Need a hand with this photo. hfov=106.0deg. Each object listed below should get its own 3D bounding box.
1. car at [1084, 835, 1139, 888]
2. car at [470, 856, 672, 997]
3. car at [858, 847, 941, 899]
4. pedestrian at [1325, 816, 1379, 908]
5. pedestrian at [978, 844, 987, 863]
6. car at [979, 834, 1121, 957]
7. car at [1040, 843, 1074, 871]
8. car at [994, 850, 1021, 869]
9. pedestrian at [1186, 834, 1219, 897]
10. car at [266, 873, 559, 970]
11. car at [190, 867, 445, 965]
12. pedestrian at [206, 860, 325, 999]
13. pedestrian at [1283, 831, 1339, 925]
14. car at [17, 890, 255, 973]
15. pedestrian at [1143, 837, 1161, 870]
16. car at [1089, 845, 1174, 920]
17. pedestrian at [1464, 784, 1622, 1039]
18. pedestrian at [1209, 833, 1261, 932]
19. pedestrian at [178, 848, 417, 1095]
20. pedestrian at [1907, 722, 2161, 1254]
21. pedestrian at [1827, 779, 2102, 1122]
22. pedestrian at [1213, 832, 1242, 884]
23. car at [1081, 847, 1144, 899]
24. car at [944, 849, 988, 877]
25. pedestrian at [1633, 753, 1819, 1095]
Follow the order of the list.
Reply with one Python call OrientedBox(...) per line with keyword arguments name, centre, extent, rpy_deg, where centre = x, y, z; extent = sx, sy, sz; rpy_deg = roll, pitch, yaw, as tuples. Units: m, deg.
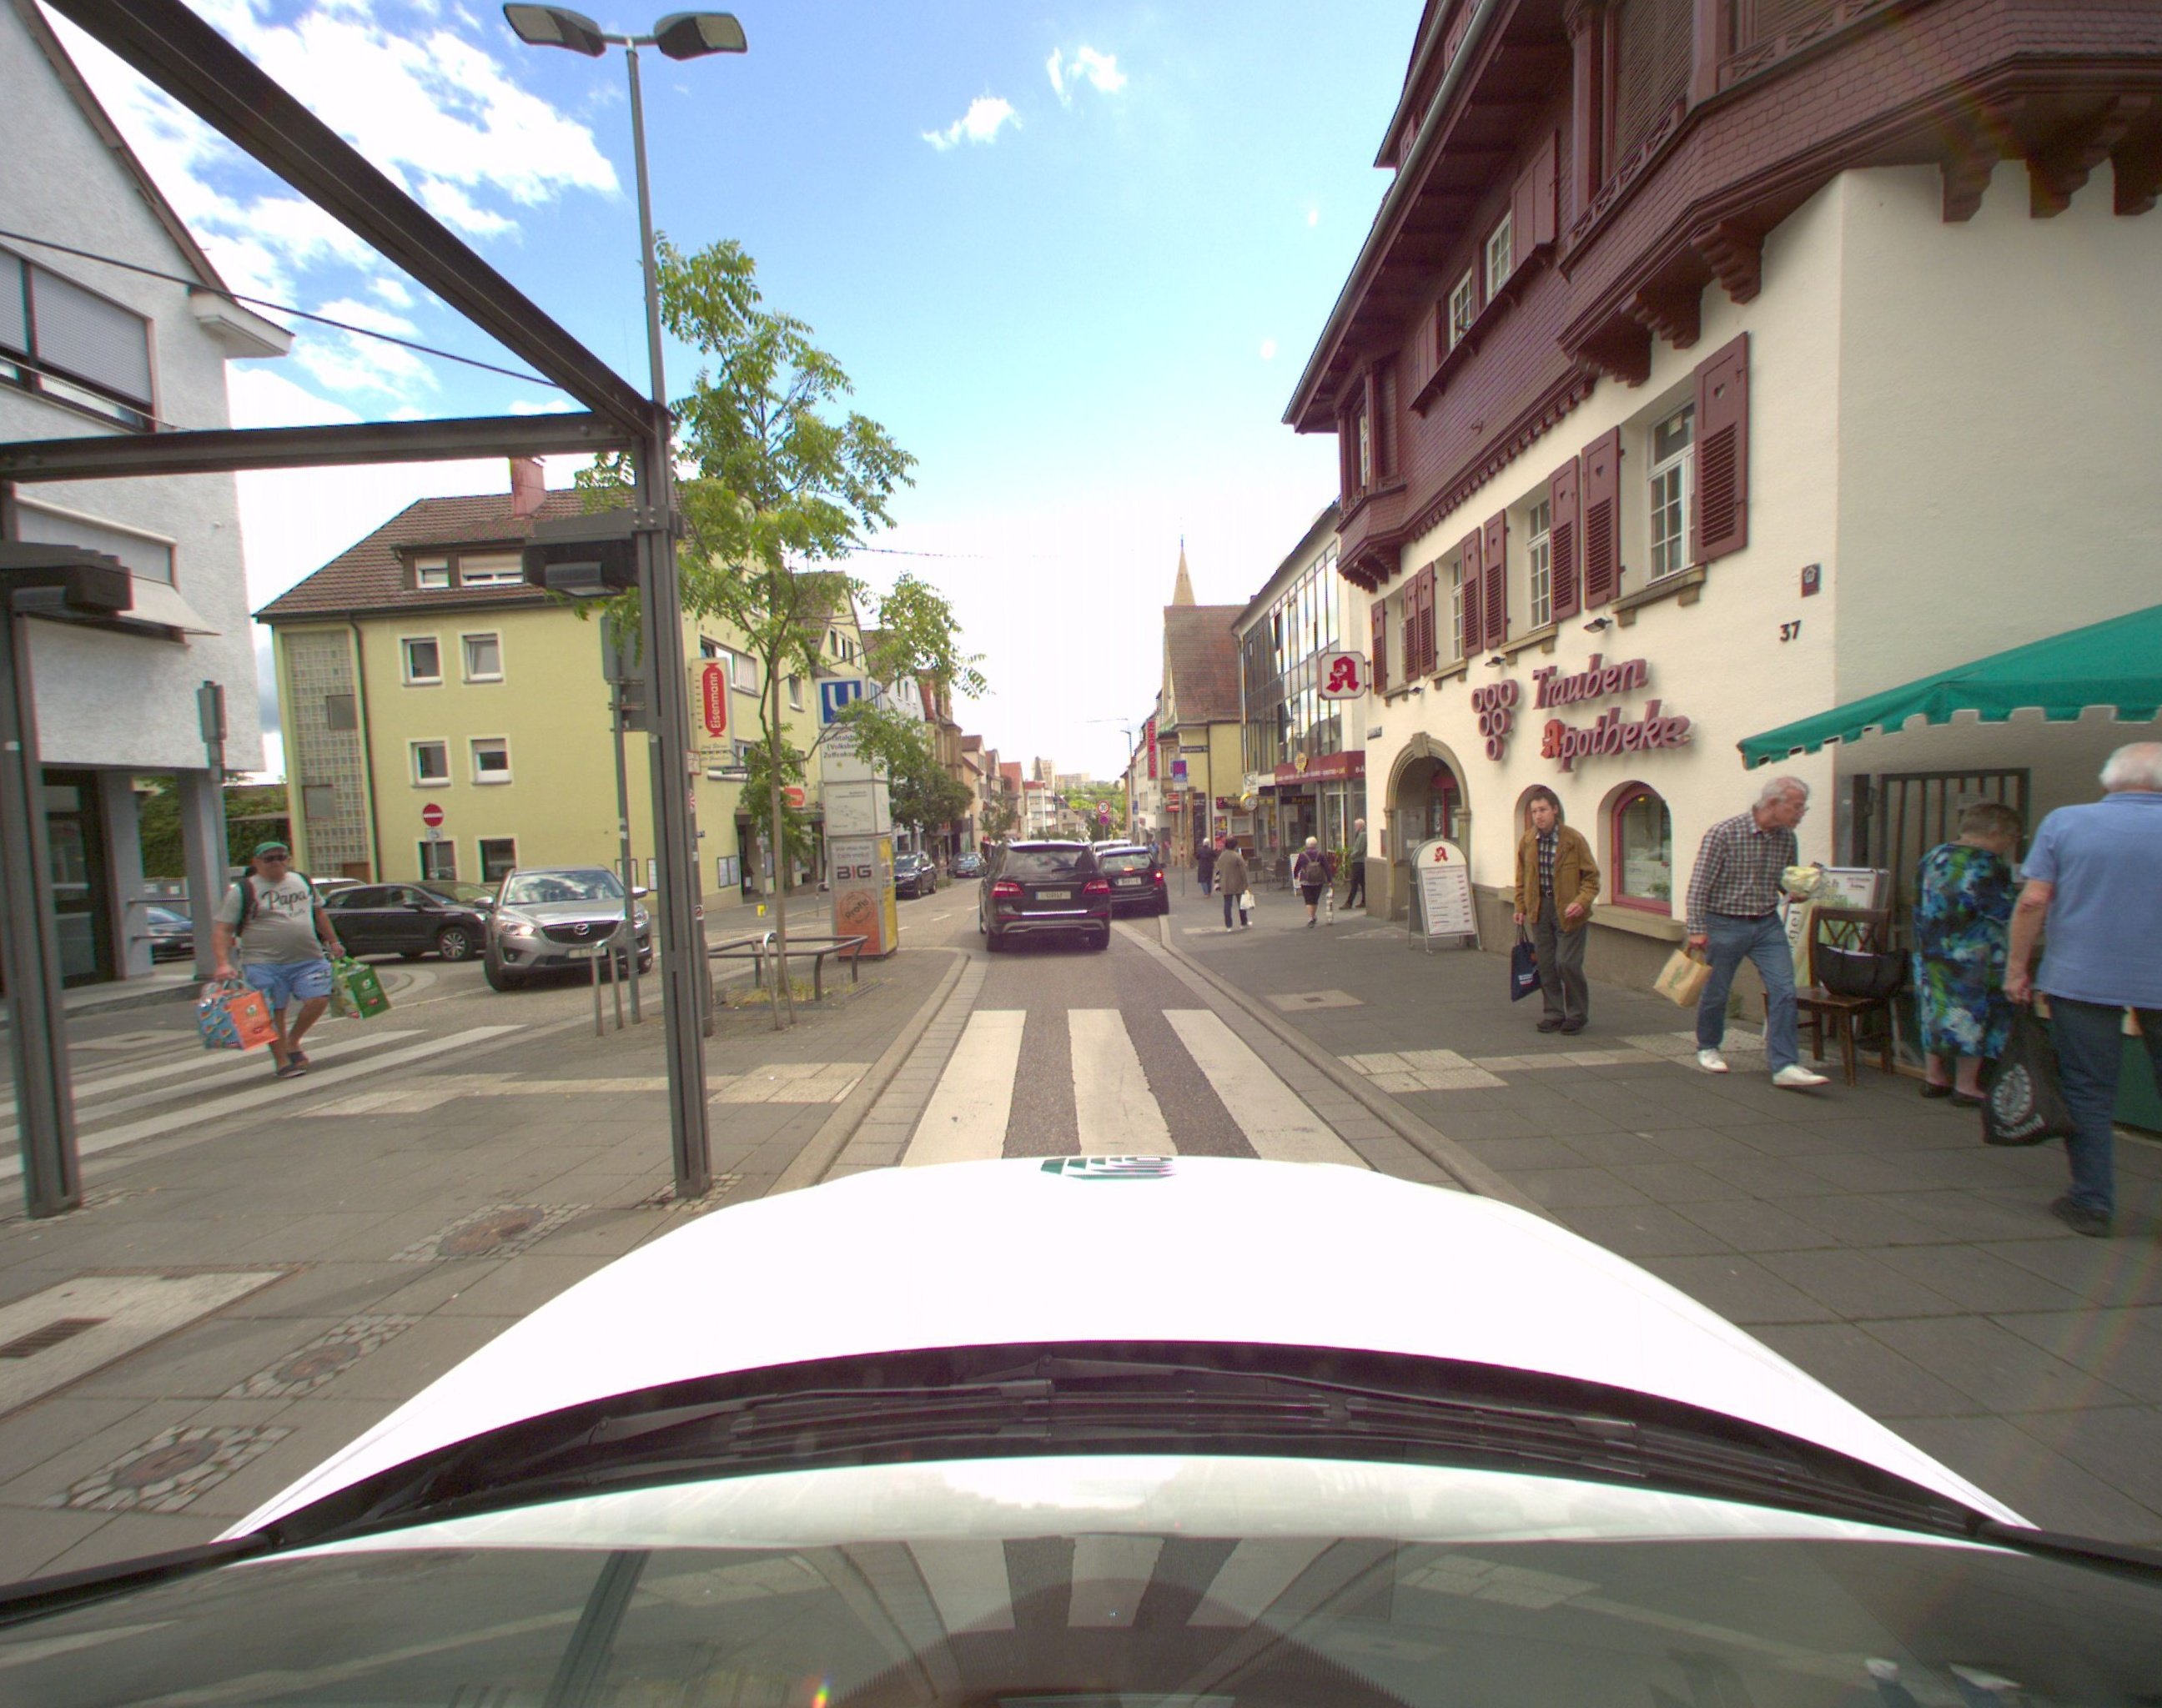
OrientedBox(name="car", centre=(1.249, 0.231, 31.060), extent=(1.868, 1.799, 4.738), rpy_deg=(-2, 1, 4))
OrientedBox(name="car", centre=(-7.766, 0.935, 12.207), extent=(1.980, 1.621, 4.304), rpy_deg=(-3, 1, -39))
OrientedBox(name="car", centre=(-6.614, 0.642, 30.243), extent=(2.000, 1.693, 4.608), rpy_deg=(-1, 1, 0))
OrientedBox(name="pedestrian", centre=(5.415, 0.145, 16.338), extent=(0.771, 1.769, 0.818), rpy_deg=(-2, 0, 2))
OrientedBox(name="pedestrian", centre=(-7.710, -0.013, 63.724), extent=(0.488, 1.463, 0.560), rpy_deg=(0, 0, 10))
OrientedBox(name="car", centre=(-0.697, 0.576, 13.916), extent=(1.943, 1.740, 4.166), rpy_deg=(-1, 1, -9))
OrientedBox(name="car", centre=(-1.370, 0.170, 48.537), extent=(1.779, 1.540, 3.745), rpy_deg=(-3, 1, 1))
OrientedBox(name="car", centre=(-6.310, 0.465, 70.236), extent=(1.920, 1.511, 4.261), rpy_deg=(0, 1, 0))
OrientedBox(name="pedestrian", centre=(3.330, 0.304, 22.439), extent=(0.819, 1.665, 0.803), rpy_deg=(-2, 0, 7))
OrientedBox(name="car", centre=(-13.205, 1.302, 16.248), extent=(4.336, 1.569, 1.918), rpy_deg=(-3, 0, 5))
OrientedBox(name="car", centre=(-18.575, 1.467, 19.950), extent=(4.318, 1.805, 2.004), rpy_deg=(-5, 3, 5))
OrientedBox(name="pedestrian", centre=(-10.887, 0.979, 10.900), extent=(0.635, 1.738, 0.835), rpy_deg=(-4, 0, -2))
OrientedBox(name="pedestrian", centre=(3.903, 0.392, 13.873), extent=(0.720, 1.531, 0.809), rpy_deg=(-3, 0, 7))
OrientedBox(name="car", centre=(-23.831, 1.931, 20.618), extent=(4.315, 1.629, 1.741), rpy_deg=(-5, 0, 7))
OrientedBox(name="pedestrian", centre=(3.777, -0.036, 43.251), extent=(0.793, 1.727, 1.053), rpy_deg=(-3, 0, 1))
OrientedBox(name="car", centre=(1.160, 0.597, 19.816), extent=(1.797, 1.555, 3.955), rpy_deg=(-3, 0, 1))
OrientedBox(name="pedestrian", centre=(3.464, 0.411, 6.165), extent=(0.782, 1.801, 0.677), rpy_deg=(-2, 0, 6))
OrientedBox(name="pedestrian", centre=(2.659, 0.479, 14.155), extent=(0.768, 1.645, 0.872), rpy_deg=(-2, 0, 7))
OrientedBox(name="pedestrian", centre=(-6.240, 0.874, 6.537), extent=(0.909, 1.787, 0.992), rpy_deg=(-2, 0, 17))
OrientedBox(name="pedestrian", centre=(3.685, 0.441, 2.999), extent=(0.694, 1.766, 0.629), rpy_deg=(-2, 0, 26))
OrientedBox(name="pedestrian", centre=(4.516, 0.460, 4.219), extent=(0.620, 1.612, 0.704), rpy_deg=(-2, 0, 6))
OrientedBox(name="pedestrian", centre=(4.901, 0.124, 27.317), extent=(0.859, 1.707, 0.947), rpy_deg=(-2, 0, 7))
OrientedBox(name="car", centre=(0.925, 0.539, 25.944), extent=(1.698, 1.467, 3.998), rpy_deg=(-3, 1, -2))
OrientedBox(name="car", centre=(-6.619, 0.491, 47.385), extent=(1.920, 1.492, 4.842), rpy_deg=(0, 1, 0))
OrientedBox(name="pedestrian", centre=(3.912, 0.377, 4.940), extent=(0.771, 1.857, 0.707), rpy_deg=(-2, 0, 43))
